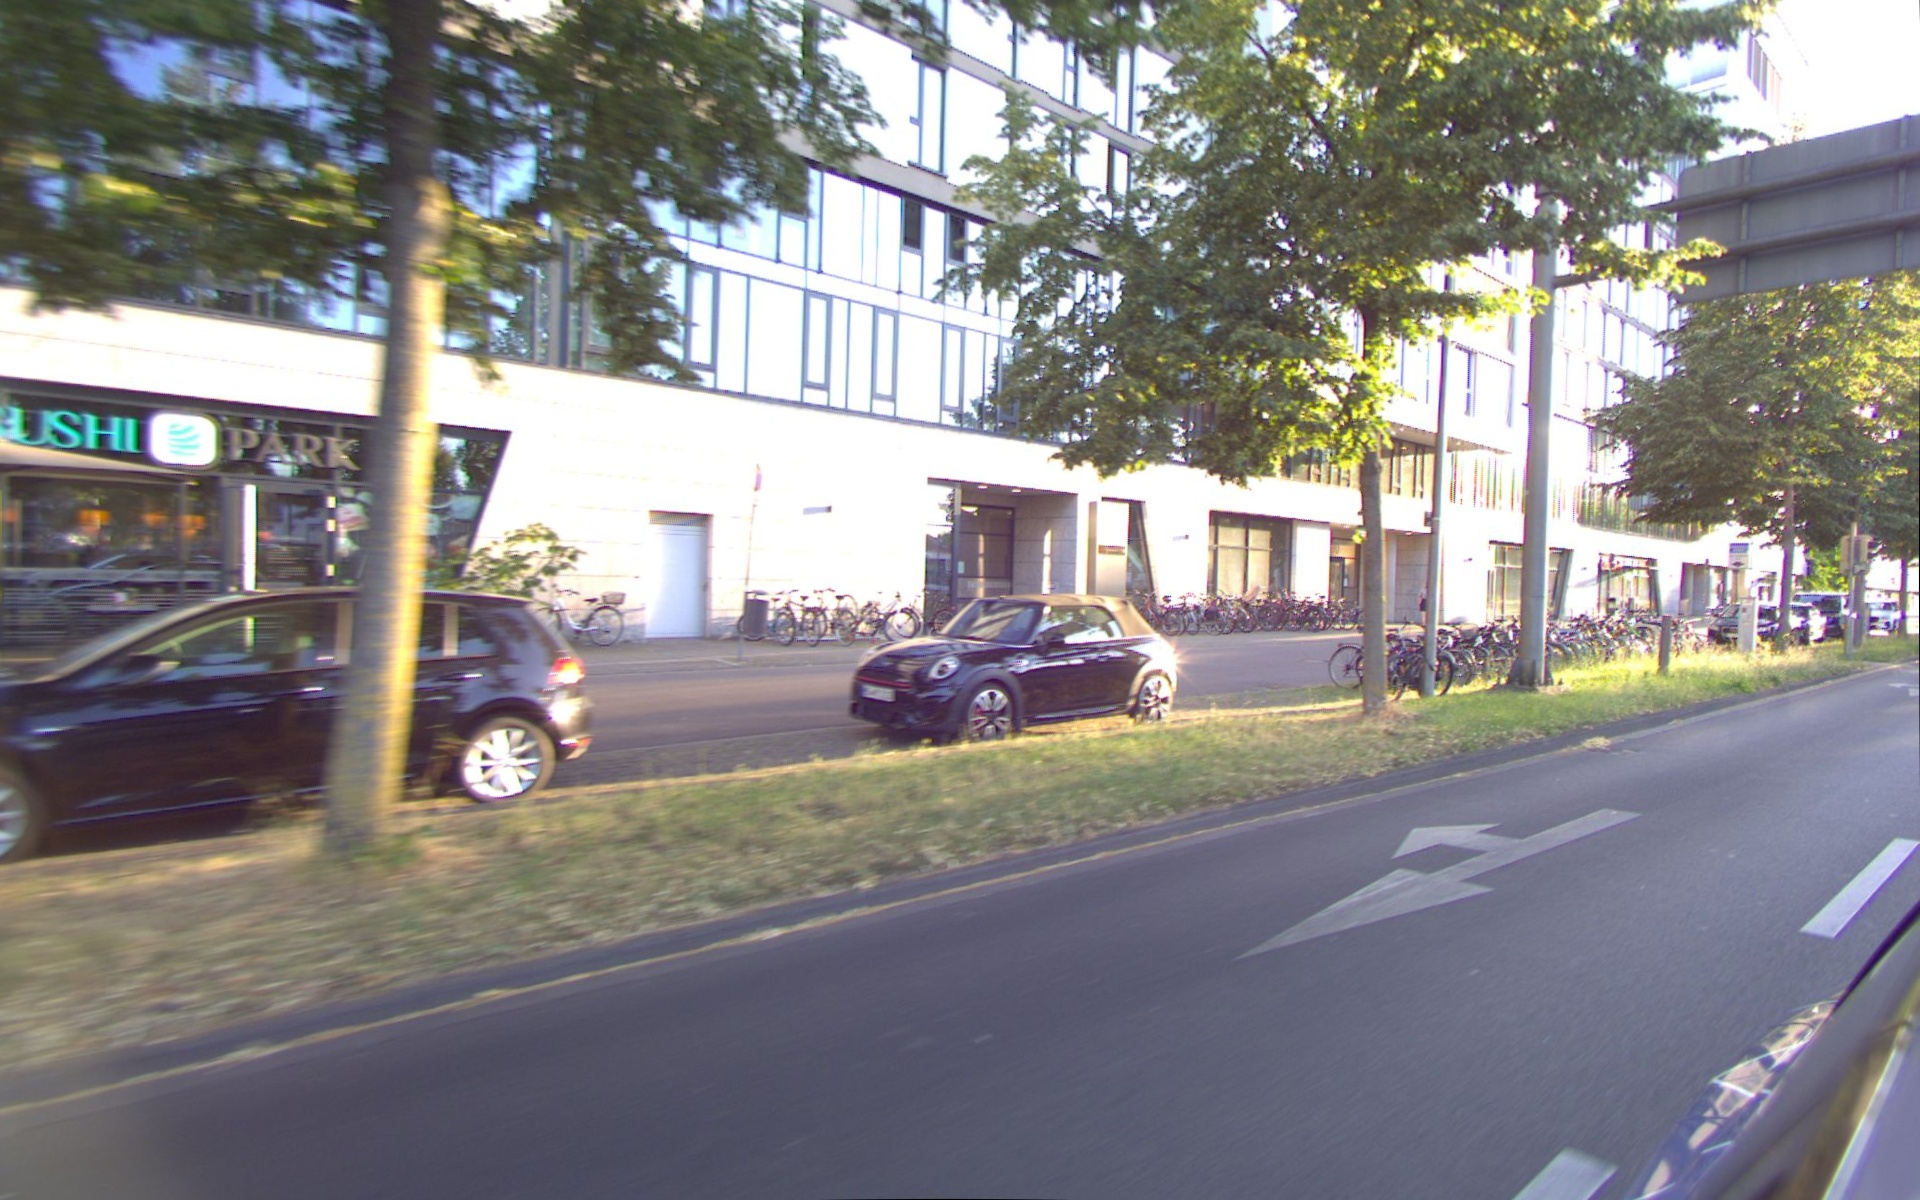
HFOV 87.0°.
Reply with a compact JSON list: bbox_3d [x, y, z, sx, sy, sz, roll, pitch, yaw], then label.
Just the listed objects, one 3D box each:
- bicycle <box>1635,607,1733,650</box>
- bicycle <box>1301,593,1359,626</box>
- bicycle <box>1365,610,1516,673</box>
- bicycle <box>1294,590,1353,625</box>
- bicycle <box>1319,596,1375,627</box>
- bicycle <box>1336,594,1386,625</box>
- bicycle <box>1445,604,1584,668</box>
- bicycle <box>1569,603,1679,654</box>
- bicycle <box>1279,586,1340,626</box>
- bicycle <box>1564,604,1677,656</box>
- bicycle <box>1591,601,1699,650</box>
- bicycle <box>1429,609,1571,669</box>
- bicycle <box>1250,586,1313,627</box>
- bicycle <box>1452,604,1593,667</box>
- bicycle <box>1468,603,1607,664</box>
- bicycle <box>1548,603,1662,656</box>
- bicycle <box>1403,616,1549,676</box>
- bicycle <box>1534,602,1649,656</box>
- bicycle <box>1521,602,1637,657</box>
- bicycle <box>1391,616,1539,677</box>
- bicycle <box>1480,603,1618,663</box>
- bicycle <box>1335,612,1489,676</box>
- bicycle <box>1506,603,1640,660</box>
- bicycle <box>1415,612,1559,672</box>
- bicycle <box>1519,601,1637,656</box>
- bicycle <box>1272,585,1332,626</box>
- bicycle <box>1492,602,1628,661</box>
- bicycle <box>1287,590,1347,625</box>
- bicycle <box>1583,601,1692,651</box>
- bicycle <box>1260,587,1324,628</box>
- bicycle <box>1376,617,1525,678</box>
[{"bbox_3d":[18.683,0.741,26.150,0.535,1.067,1.945,1,-2,-40],"label":"bicycle"},{"bbox_3d":[12.040,0.296,32.985,0.396,0.999,1.835,1,1,-39],"label":"bicycle"},{"bbox_3d":[7.632,0.666,16.177,2.142,0.952,0.436,-3,-2,44],"label":"bicycle"},{"bbox_3d":[11.755,0.223,32.737,0.396,1.070,1.835,1,1,-39],"label":"bicycle"},{"bbox_3d":[12.743,0.365,33.391,0.396,0.964,1.748,1,1,-39],"label":"bicycle"},{"bbox_3d":[13.649,0.324,34.507,0.396,0.999,1.579,1,1,-39],"label":"bicycle"},{"bbox_3d":[9.799,0.641,17.978,2.142,1.067,0.295,-3,-3,44],"label":"bicycle"},{"bbox_3d":[14.481,0.637,22.111,1.941,1.067,0.408,-3,-2,43],"label":"bicycle"},{"bbox_3d":[11.046,0.162,32.052,0.437,1.192,1.835,1,1,-39],"label":"bicycle"},{"bbox_3d":[14.087,0.640,21.633,1.941,1.067,0.408,-3,-2,43],"label":"bicycle"},{"bbox_3d":[15.280,0.579,22.607,1.941,1.067,0.309,-3,-3,43],"label":"bicycle"},{"bbox_3d":[9.445,0.676,17.772,2.142,0.999,0.436,-3,-2,44],"label":"bicycle"},{"bbox_3d":[9.821,0.182,30.963,0.495,1.192,1.833,1,1,-42],"label":"bicycle"},{"bbox_3d":[10.114,0.642,18.271,2.142,1.067,0.516,-3,-2,44],"label":"bicycle"},{"bbox_3d":[10.563,0.622,18.578,2.141,1.067,0.517,-3,-2,44],"label":"bicycle"},{"bbox_3d":[13.522,0.630,21.256,1.941,1.067,0.408,-3,-2,43],"label":"bicycle"},{"bbox_3d":[8.682,0.772,17.103,2.142,0.952,0.436,-3,-2,45],"label":"bicycle"},{"bbox_3d":[12.951,0.604,20.807,0.397,1.067,1.943,1,-2,-42],"label":"bicycle"},{"bbox_3d":[12.548,0.604,20.561,1.941,1.067,0.398,-3,-3,44],"label":"bicycle"},{"bbox_3d":[8.345,0.768,16.803,2.142,0.952,0.445,-3,-2,45],"label":"bicycle"},{"bbox_3d":[10.982,0.625,18.936,2.142,1.067,0.562,-3,-2,44],"label":"bicycle"},{"bbox_3d":[7.107,0.682,16.005,2.142,0.952,0.537,-3,-2,44],"label":"bicycle"},{"bbox_3d":[11.920,0.619,19.731,2.142,1.067,0.562,-3,-2,44],"label":"bicycle"},{"bbox_3d":[9.047,0.721,17.444,2.142,0.986,0.436,-3,-2,44],"label":"bicycle"},{"bbox_3d":[12.286,0.576,20.166,1.941,1.067,0.398,-3,-3,44],"label":"bicycle"},{"bbox_3d":[10.692,0.155,31.697,0.437,1.192,1.835,1,1,-39],"label":"bicycle"},{"bbox_3d":[11.443,0.610,19.357,2.141,1.067,0.553,-2,-2,44],"label":"bicycle"},{"bbox_3d":[11.407,0.222,32.408,0.437,1.060,1.835,1,1,-39],"label":"bicycle"},{"bbox_3d":[14.971,0.579,22.408,1.941,1.067,0.342,-3,-2,43],"label":"bicycle"},{"bbox_3d":[10.262,0.213,31.321,0.495,1.192,1.833,1,1,-42],"label":"bicycle"},{"bbox_3d":[7.963,0.768,16.525,2.142,0.952,0.436,-3,-2,44],"label":"bicycle"}]
